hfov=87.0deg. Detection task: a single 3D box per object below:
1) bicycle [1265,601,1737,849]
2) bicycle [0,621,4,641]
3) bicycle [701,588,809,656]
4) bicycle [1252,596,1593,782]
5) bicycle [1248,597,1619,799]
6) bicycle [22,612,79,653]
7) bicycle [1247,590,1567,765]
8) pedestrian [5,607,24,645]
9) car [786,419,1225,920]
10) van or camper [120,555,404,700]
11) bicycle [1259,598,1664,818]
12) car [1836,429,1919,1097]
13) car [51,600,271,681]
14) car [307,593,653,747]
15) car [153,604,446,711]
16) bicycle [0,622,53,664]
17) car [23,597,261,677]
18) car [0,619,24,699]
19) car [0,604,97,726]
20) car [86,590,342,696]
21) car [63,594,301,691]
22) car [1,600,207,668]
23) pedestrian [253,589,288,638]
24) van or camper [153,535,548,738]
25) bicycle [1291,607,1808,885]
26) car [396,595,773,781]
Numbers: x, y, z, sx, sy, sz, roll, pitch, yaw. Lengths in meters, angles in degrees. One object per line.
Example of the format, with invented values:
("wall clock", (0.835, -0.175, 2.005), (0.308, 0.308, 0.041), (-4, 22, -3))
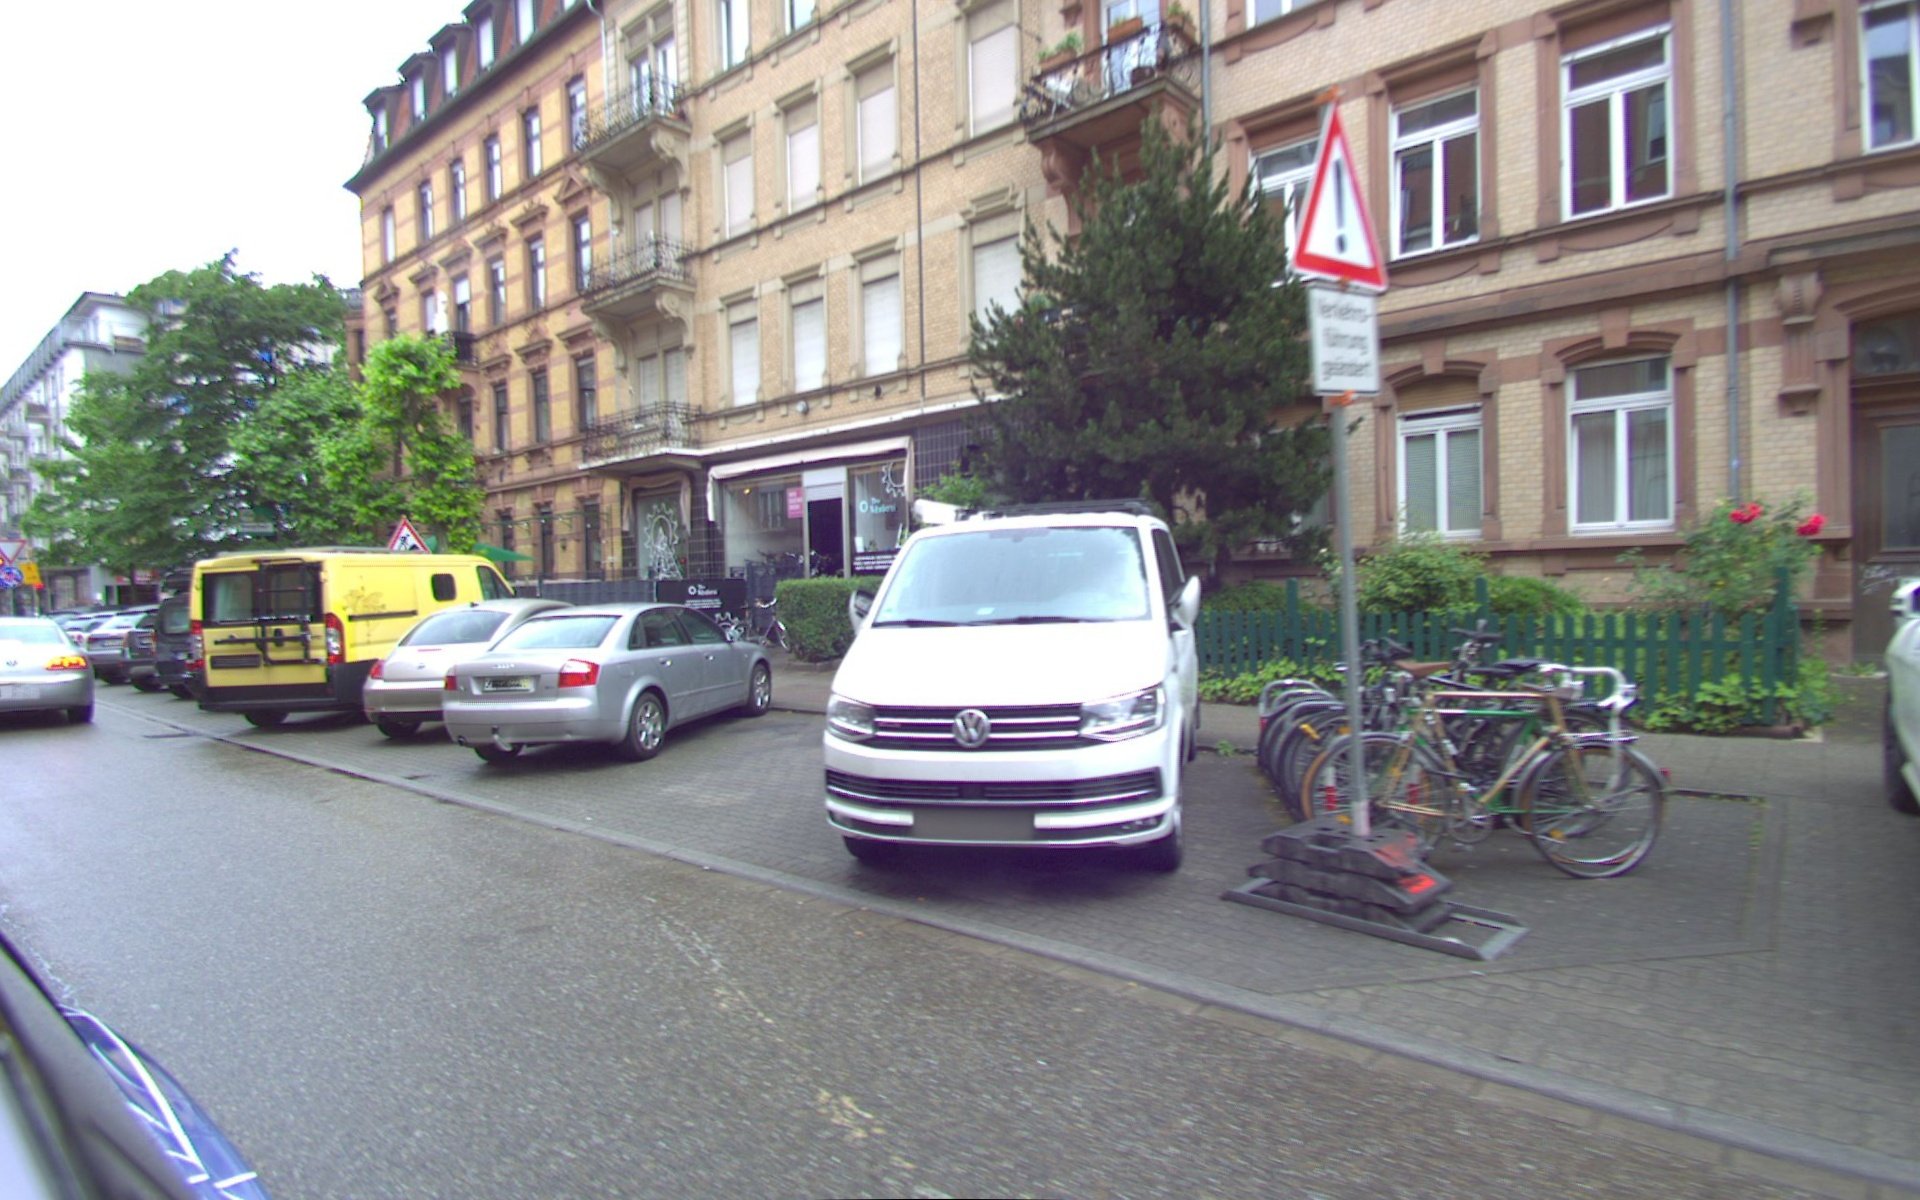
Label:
("bicycle", (2.765, 0.642, 5.373), (2.105, 1.192, 0.542), (-2, 1, 11))
("bicycle", (-49.993, 1.664, 51.459), (0.658, 1.041, 1.879), (-2, 3, 26))
("bicycle", (-3.753, 0.385, 18.654), (0.631, 1.183, 2.018), (-1, 0, 38))
("bicycle", (3.068, 0.599, 6.855), (2.022, 1.183, 0.406), (-2, 1, 11))
("bicycle", (2.926, 0.613, 6.429), (2.022, 1.183, 0.542), (-2, 1, 11))
("bicycle", (-26.944, 0.965, 29.975), (1.667, 1.152, 0.397), (-1, 1, 16))
("bicycle", (3.144, 0.555, 7.251), (2.022, 1.183, 0.406), (-2, 1, 11))
("pedestrian", (-48.266, 1.316, 51.657), (0.595, 1.862, 0.770), (-3, 1, -41))
("car", (0.807, 0.246, 7.007), (1.853, 2.094, 5.227), (-2, 1, 16))
("van or camper", (-12.417, 0.370, 18.389), (1.915, 2.255, 4.075), (-1, 3, 8))
("bicycle", (2.838, 0.616, 5.895), (2.022, 1.183, 0.481), (-2, 1, 11))
("car", (4.936, 0.277, 3.648), (2.543, 1.798, 4.534), (-1, 3, 40))
("car", (-19.016, 0.892, 24.362), (1.779, 1.504, 4.133), (-1, 3, 5))
("car", (-5.592, 0.724, 12.425), (1.941, 1.506, 3.908), (-1, 1, 10))
("car", (-10.441, 0.864, 16.401), (1.806, 1.506, 3.989), (-1, -1, 8))
("bicycle", (-27.401, 1.258, 29.475), (1.665, 1.152, 0.585), (-1, 1, 13))
("car", (-20.907, 0.881, 26.197), (1.976, 1.574, 4.717), (-3, 2, 6))
("car", (-19.968, 1.140, 19.815), (4.133, 1.505, 1.778), (-2, -3, 39))
("car", (-13.754, 0.902, 14.302), (4.582, 1.505, 1.776), (-2, 0, 42))
("car", (-14.544, 0.751, 20.081), (1.778, 1.674, 4.134), (-1, 3, 4))
("car", (-16.859, 0.839, 22.236), (1.778, 1.674, 4.134), (-2, 3, 4))
("car", (-24.578, 0.910, 29.316), (1.974, 1.575, 4.453), (-1, 3, 4))
("pedestrian", (-29.219, 0.574, 42.906), (0.929, 2.029, 0.866), (-2, 1, -14))
("van or camper", (-8.109, 0.337, 14.176), (2.159, 2.284, 4.716), (-3, 2, 8))
("bicycle", (2.685, 0.662, 4.806), (2.022, 1.183, 0.542), (-2, 1, 11))
("car", (-3.522, 0.726, 10.384), (1.766, 1.446, 3.985), (-1, 1, 12))
